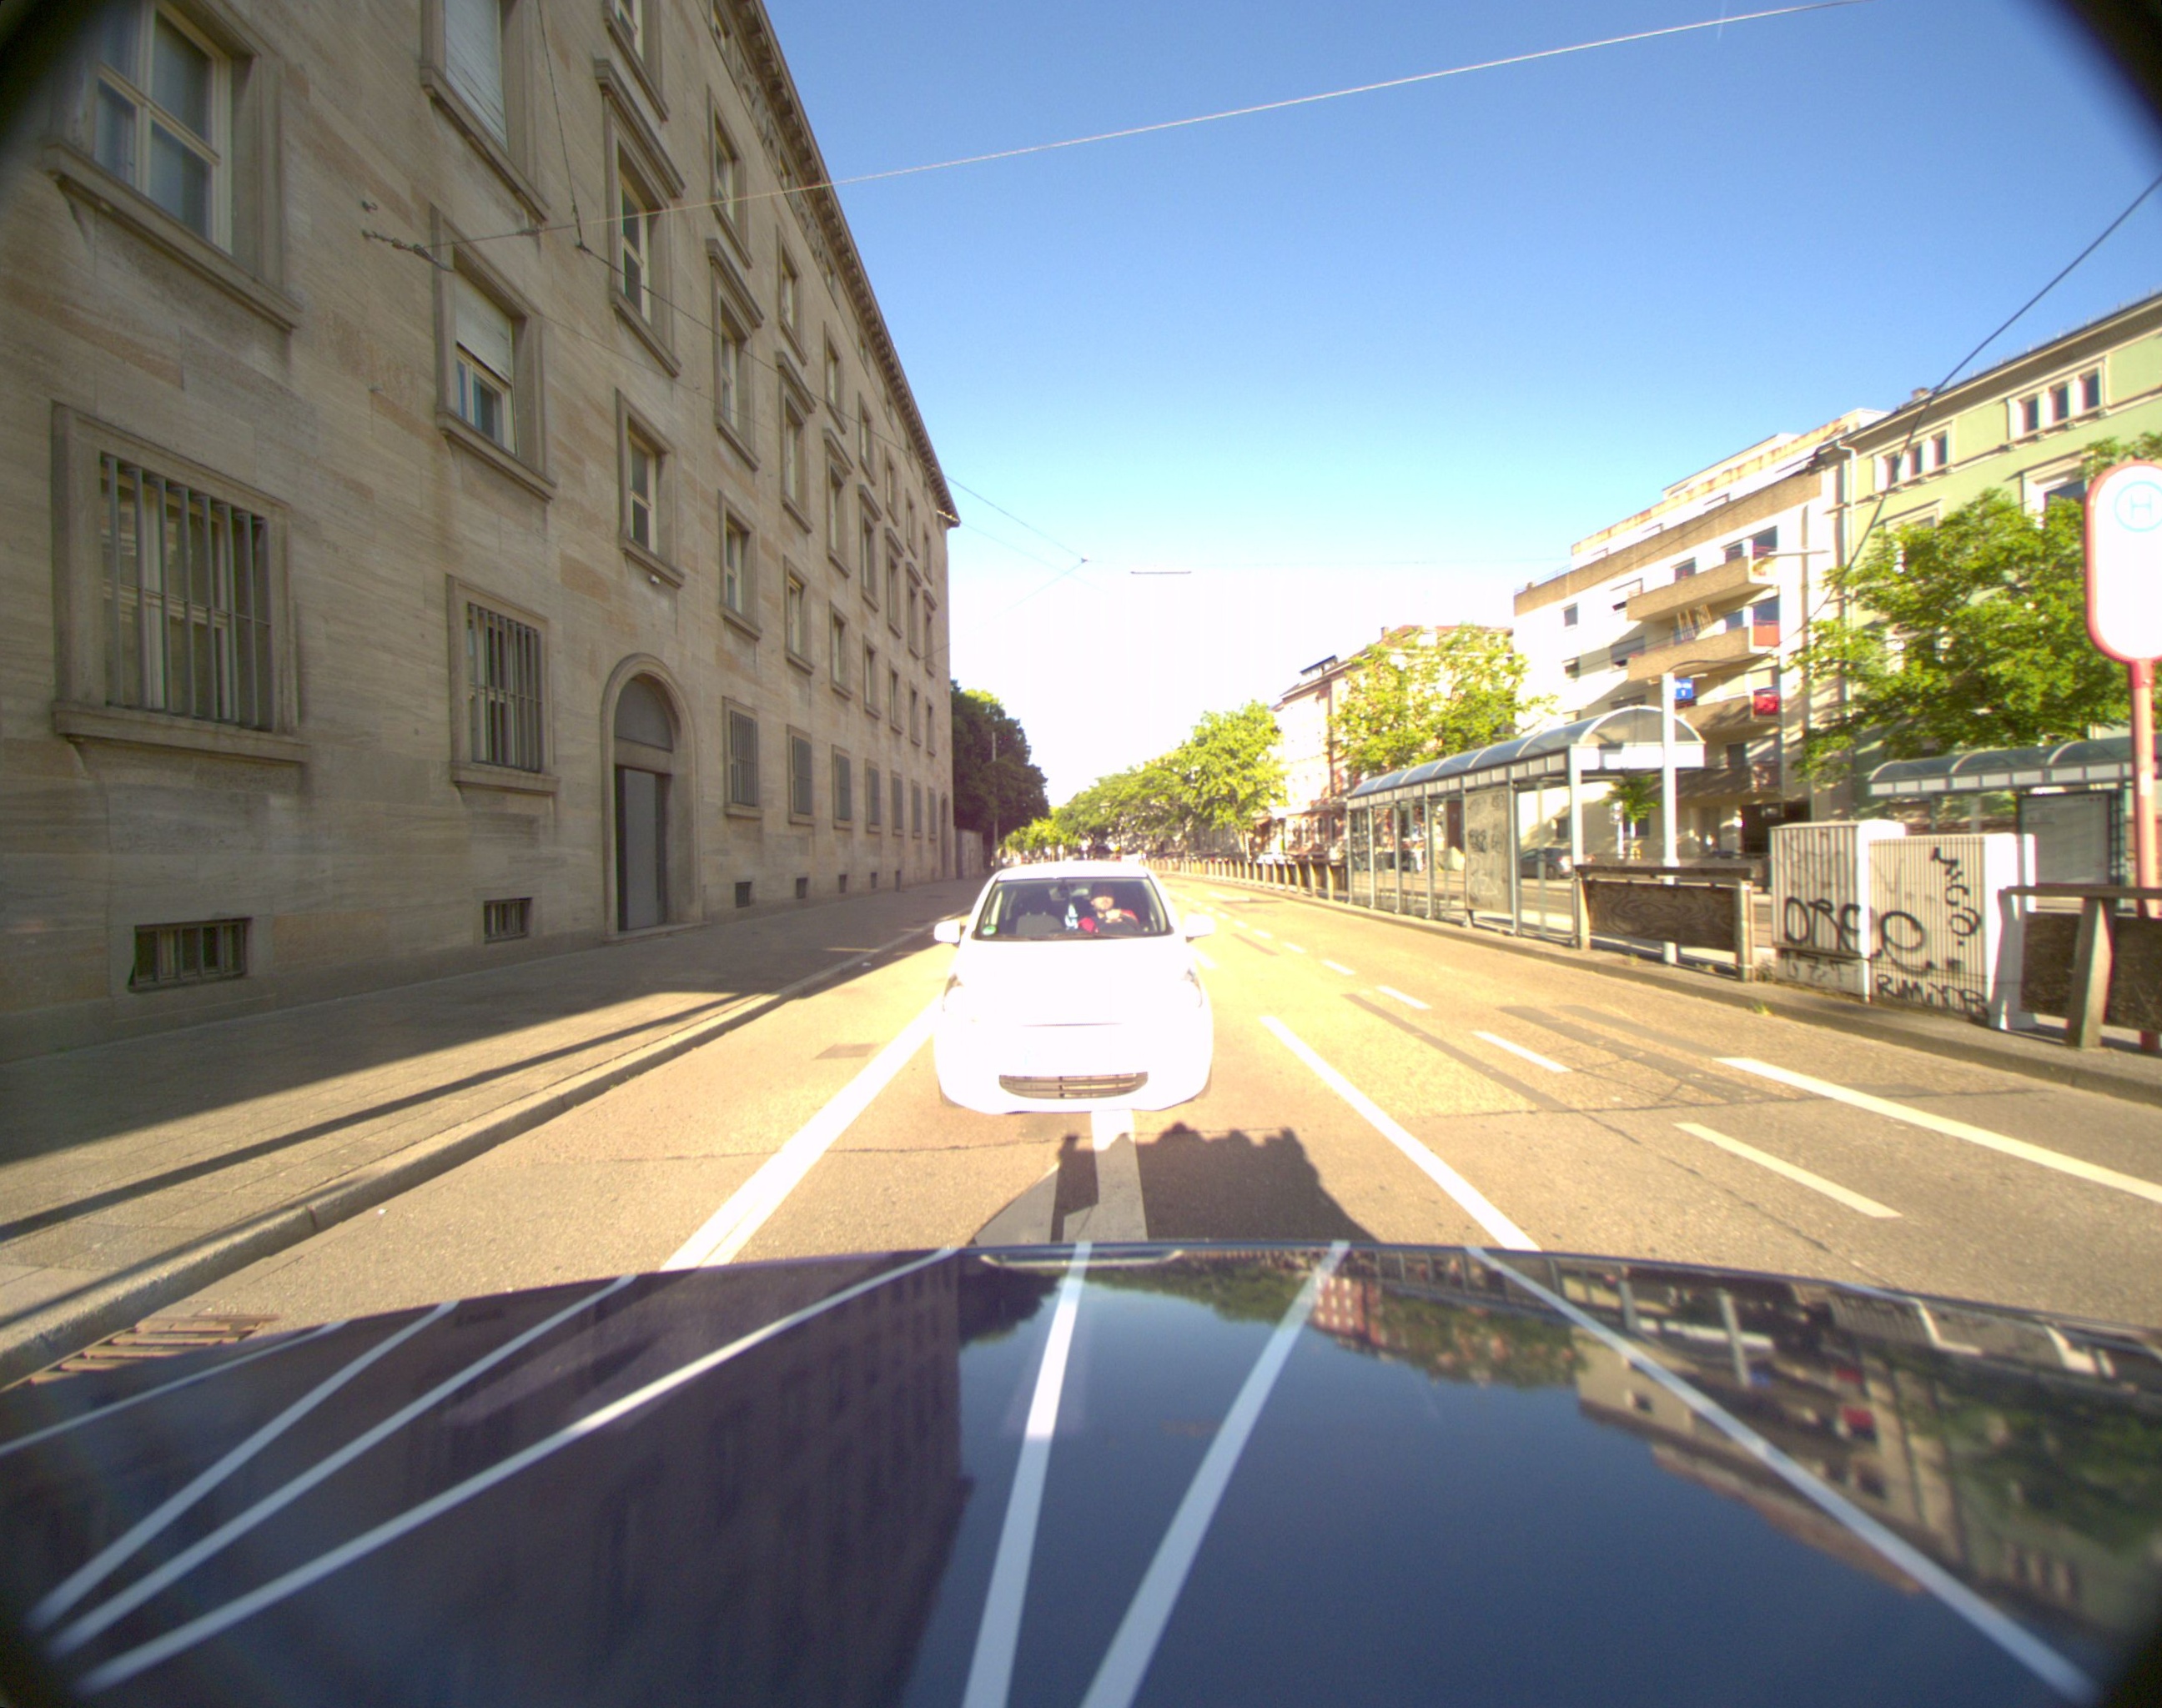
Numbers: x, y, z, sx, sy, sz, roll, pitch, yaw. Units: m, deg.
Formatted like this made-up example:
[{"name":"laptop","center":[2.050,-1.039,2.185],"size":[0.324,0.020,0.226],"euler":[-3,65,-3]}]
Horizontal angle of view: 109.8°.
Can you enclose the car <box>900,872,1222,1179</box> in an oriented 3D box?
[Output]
[{"name":"car","center":[-0.078,0.918,5.697],"size":[1.612,1.450,3.667],"euler":[-1,0,1]}]

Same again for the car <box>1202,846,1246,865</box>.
[{"name":"car","center":[13.630,0.143,72.579],"size":[3.996,1.674,2.000],"euler":[-1,0,4]}]

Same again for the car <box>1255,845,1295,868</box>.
[{"name":"car","center":[16.299,0.173,63.664],"size":[1.994,1.713,4.007],"euler":[0,2,34]}]

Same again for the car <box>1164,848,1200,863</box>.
[{"name":"car","center":[11.428,0.165,86.076],"size":[3.864,1.583,2.001],"euler":[-1,0,5]}]

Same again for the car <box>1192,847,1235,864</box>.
[{"name":"car","center":[13.344,0.129,76.713],"size":[3.996,1.674,2.000],"euler":[-1,0,4]}]

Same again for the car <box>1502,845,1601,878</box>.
[{"name":"car","center":[20.844,0.312,33.821],"size":[1.615,1.387,3.516],"euler":[-1,0,-19]}]

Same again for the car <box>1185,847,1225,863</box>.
[{"name":"car","center":[13.150,0.102,80.516],"size":[3.996,1.674,2.000],"euler":[-1,0,4]}]

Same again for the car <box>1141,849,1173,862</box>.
[{"name":"car","center":[9.555,0.155,95.701],"size":[3.864,1.583,2.001],"euler":[-1,0,4]}]

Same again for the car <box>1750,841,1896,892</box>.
[{"name":"car","center":[23.933,0.361,24.538],"size":[3.796,1.526,1.772],"euler":[-1,0,-17]}]
